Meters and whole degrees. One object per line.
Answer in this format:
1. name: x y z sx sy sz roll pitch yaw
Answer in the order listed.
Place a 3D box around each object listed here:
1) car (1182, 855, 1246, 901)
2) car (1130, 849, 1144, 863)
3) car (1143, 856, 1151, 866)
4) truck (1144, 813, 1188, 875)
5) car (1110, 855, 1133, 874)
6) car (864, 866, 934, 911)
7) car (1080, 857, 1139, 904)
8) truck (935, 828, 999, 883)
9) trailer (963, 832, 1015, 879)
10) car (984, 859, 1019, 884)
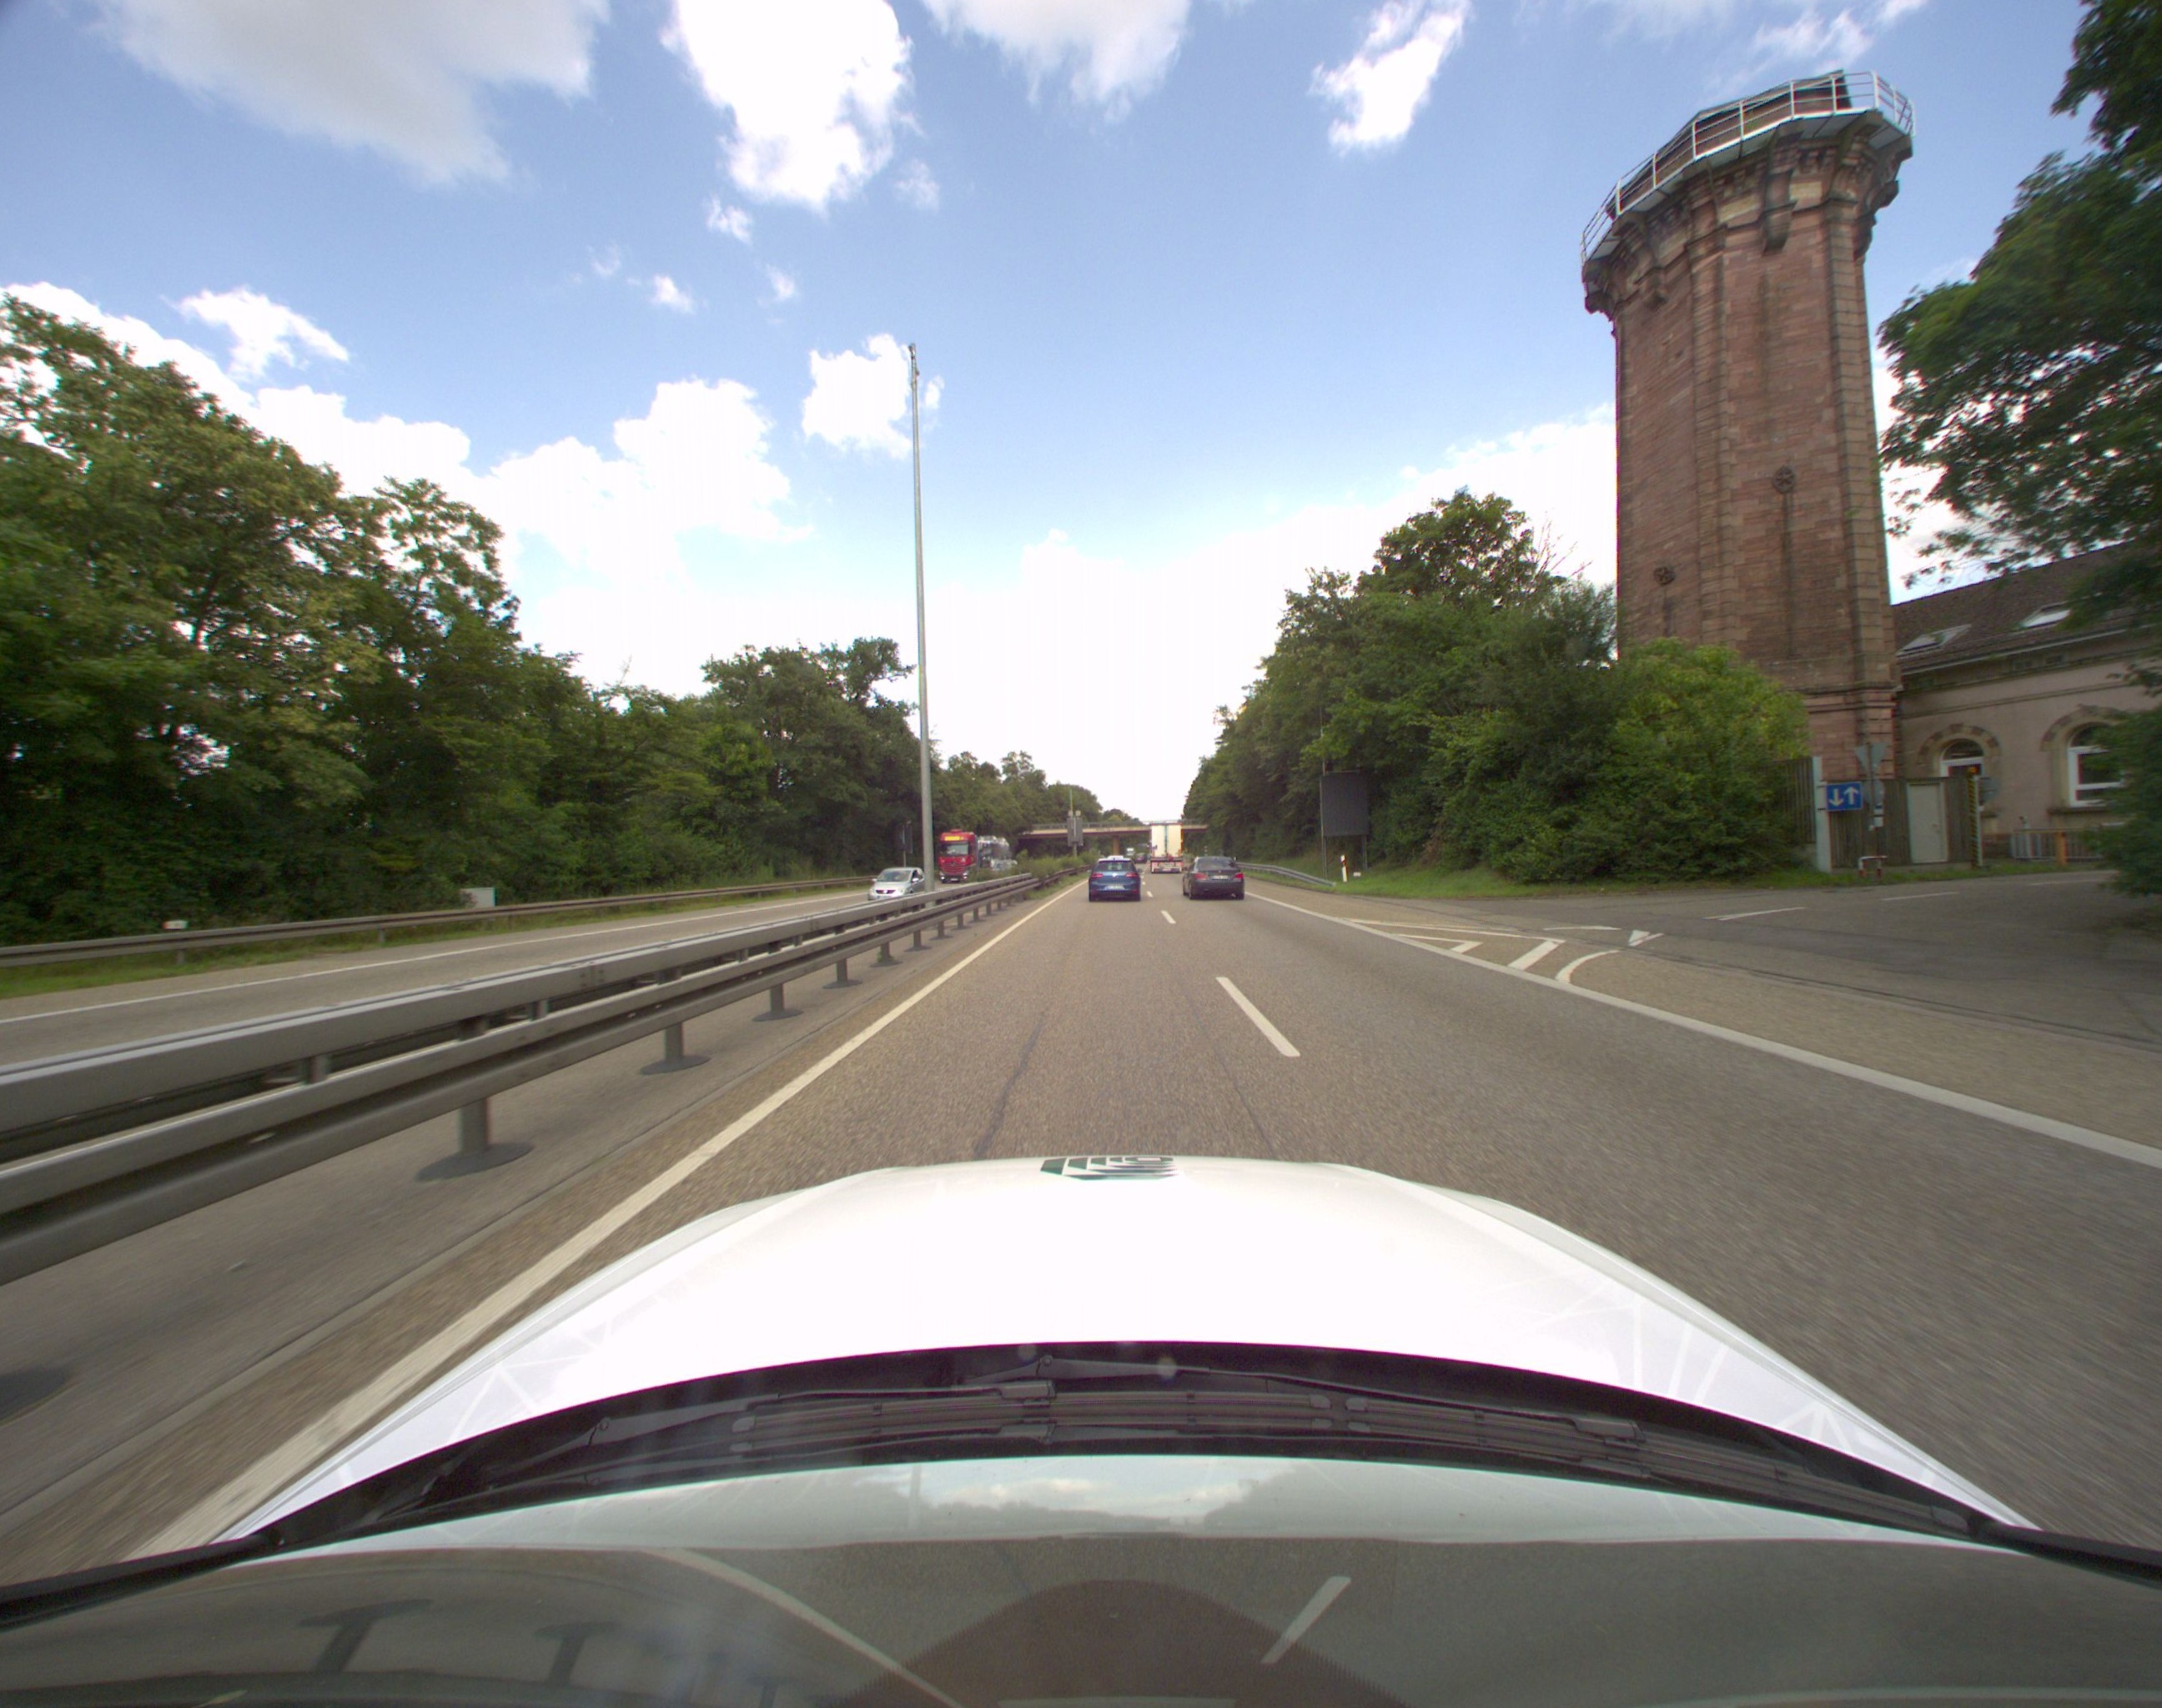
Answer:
1. car: 4.594 0.782 28.690 1.766 1.475 4.885 -1 0 4
2. car: 8.871 0.314 127.870 1.944 2.013 4.007 -3 0 6
3. car: 15.855 1.729 195.920 1.984 2.327 4.448 -2 0 5
4. truck: 7.132 -0.822 68.883 3.226 4.716 11.022 -2 0 5
5. car: 3.286 0.819 65.901 1.658 1.500 4.157 -1 0 4
6. car: -7.147 1.321 32.327 1.699 1.568 4.033 -2 0 2
7. car: 1.059 0.872 28.386 1.696 1.470 4.007 -1 0 6
8. truck: -8.832 0.142 64.362 2.943 3.855 10.330 -3 0 3
9. trailer: -8.245 0.138 74.617 2.926 3.833 10.318 -3 0 3
10. car: -5.287 1.133 54.562 1.667 1.551 4.265 -2 0 2
